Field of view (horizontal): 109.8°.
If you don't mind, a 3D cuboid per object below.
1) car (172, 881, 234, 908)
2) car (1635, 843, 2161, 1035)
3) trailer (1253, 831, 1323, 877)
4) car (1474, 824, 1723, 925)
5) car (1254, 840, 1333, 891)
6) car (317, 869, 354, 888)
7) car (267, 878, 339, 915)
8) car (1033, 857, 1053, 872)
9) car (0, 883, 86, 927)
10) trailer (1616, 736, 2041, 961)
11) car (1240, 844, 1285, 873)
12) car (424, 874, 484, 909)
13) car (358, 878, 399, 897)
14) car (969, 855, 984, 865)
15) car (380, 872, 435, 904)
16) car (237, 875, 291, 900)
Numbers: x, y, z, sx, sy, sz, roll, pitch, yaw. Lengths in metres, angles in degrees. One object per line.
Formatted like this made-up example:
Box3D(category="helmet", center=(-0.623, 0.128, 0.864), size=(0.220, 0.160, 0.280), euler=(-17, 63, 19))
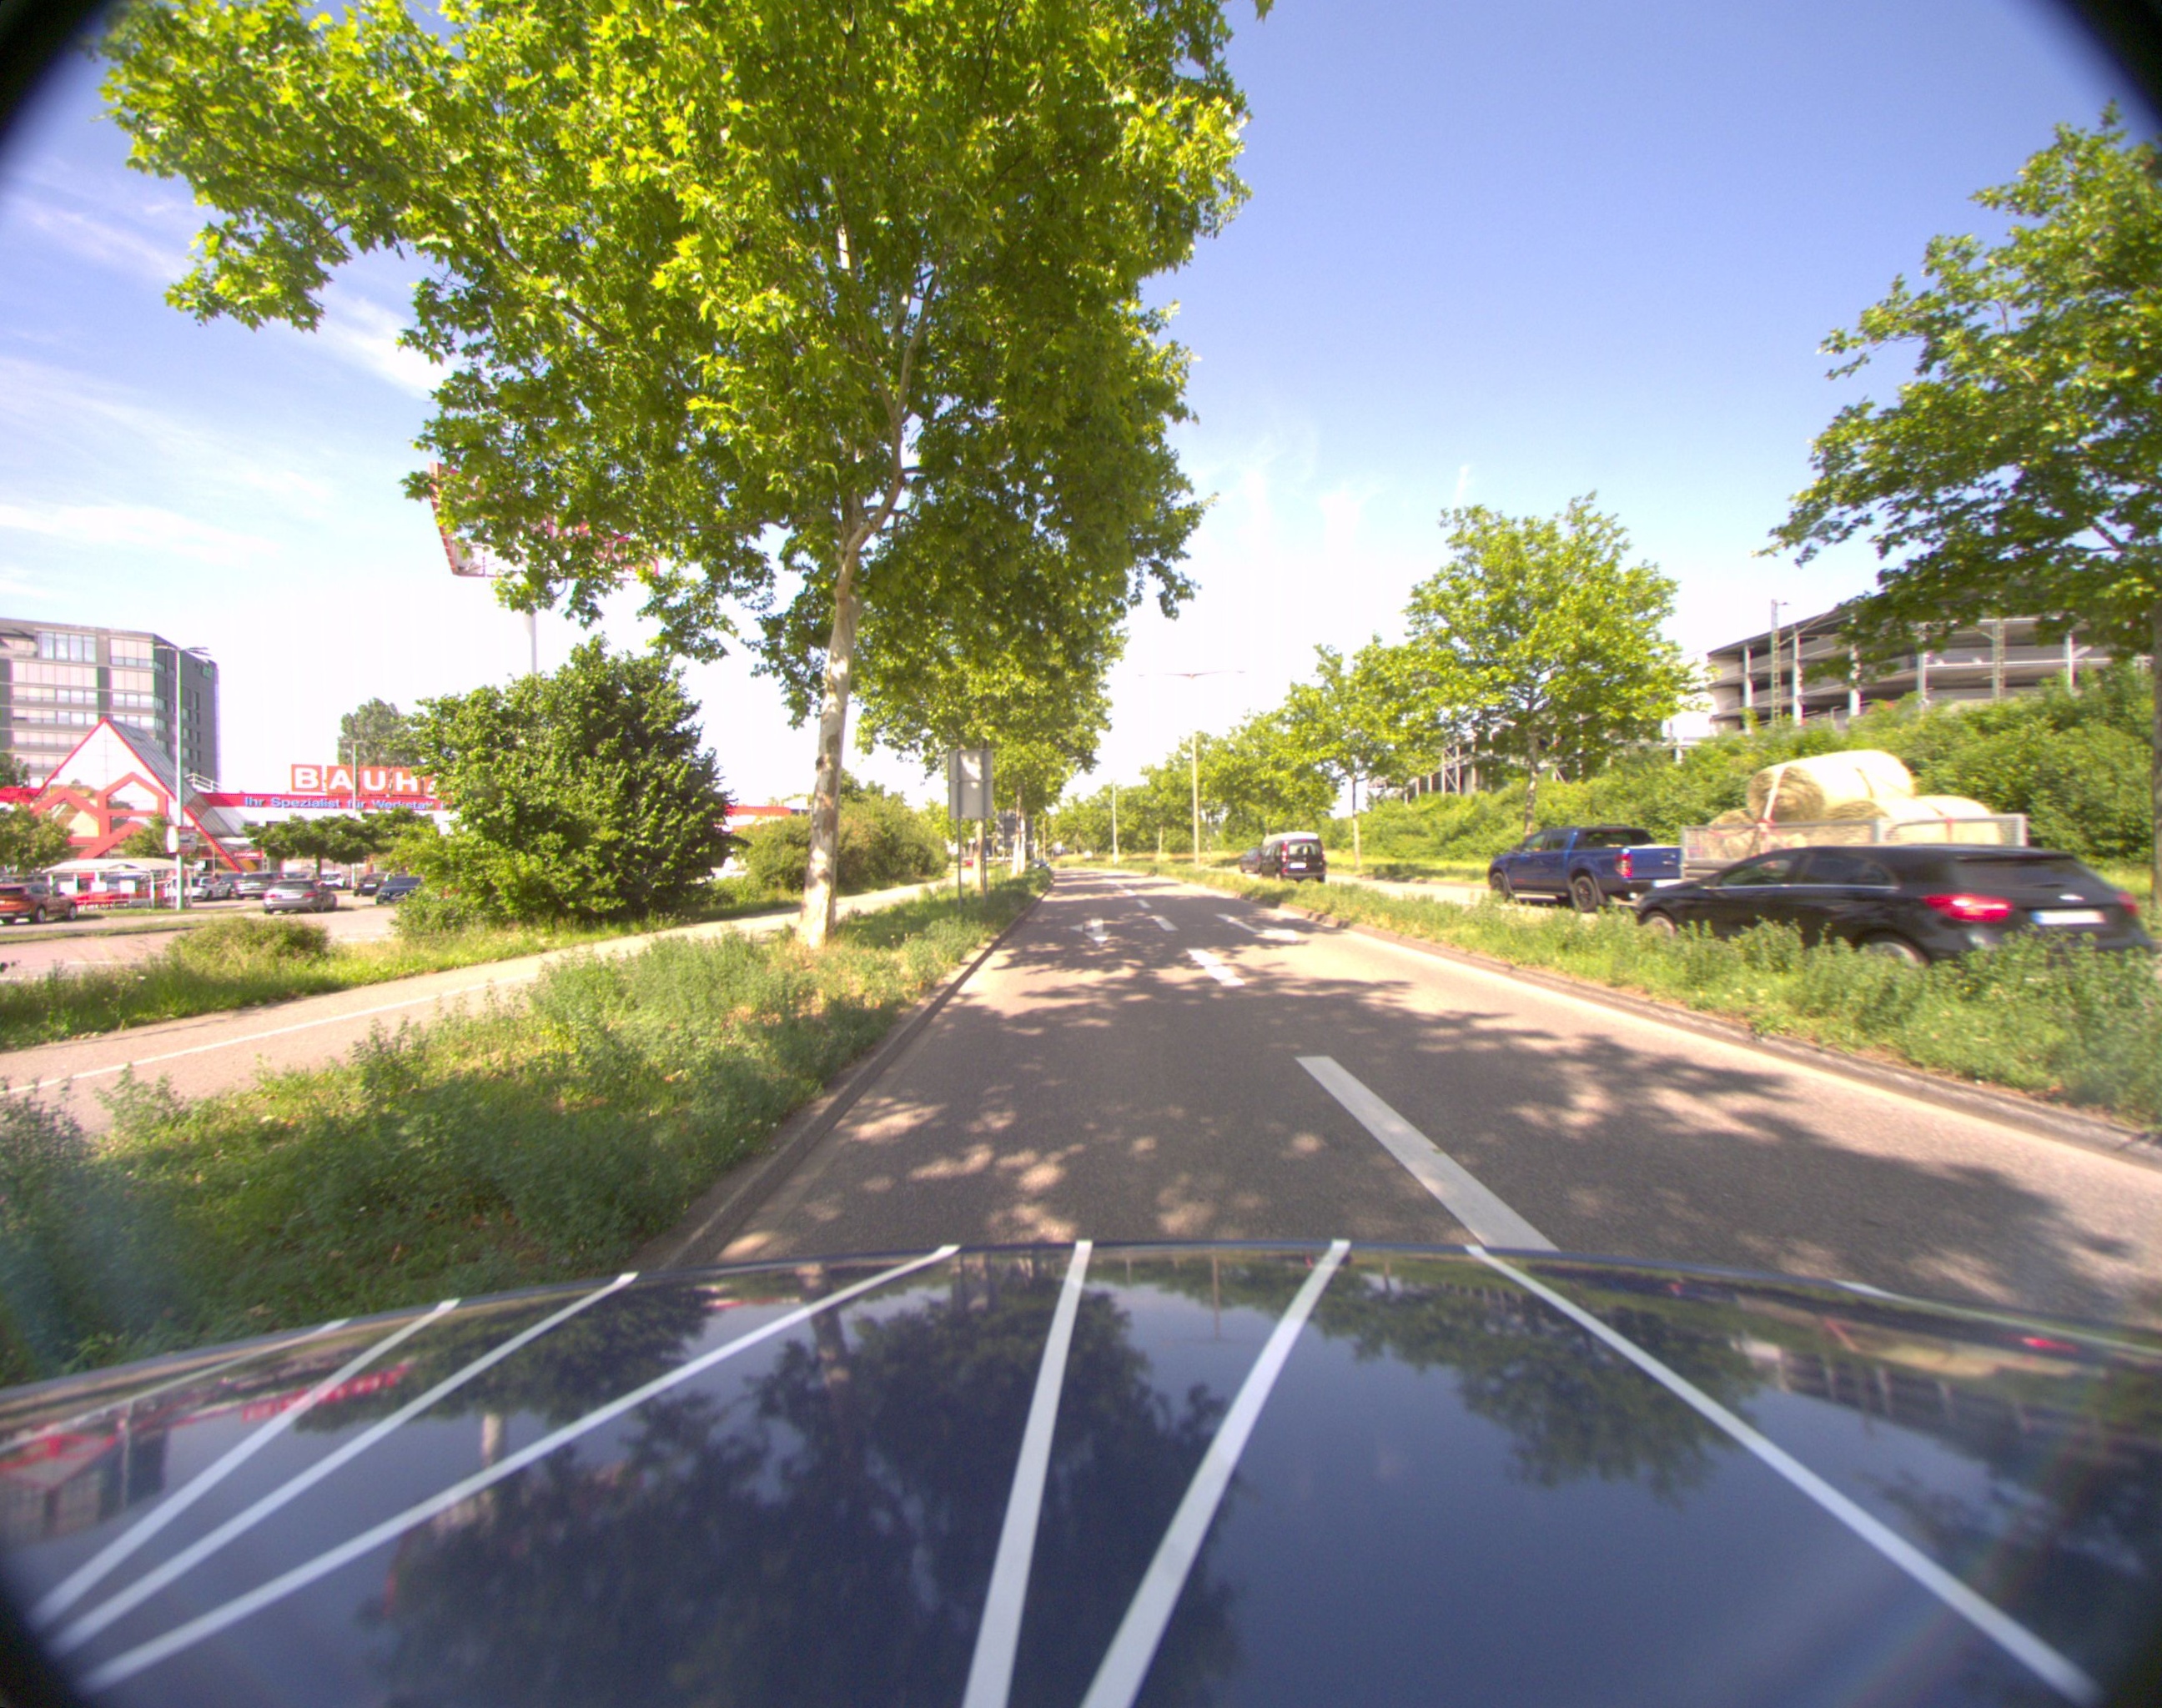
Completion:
Box3D(category="car", center=(-51.346, 2.339, 44.497), size=(1.572, 1.371, 3.609), euler=(-3, 1, -36))
Box3D(category="car", center=(7.956, 0.644, 7.890), size=(1.607, 1.463, 3.789), euler=(-2, 1, 0))
Box3D(category="trailer", center=(11.028, -0.036, 40.938), size=(2.314, 2.252, 5.537), euler=(-1, 1, 1))
Box3D(category="car", center=(11.012, 0.346, 16.817), size=(1.769, 1.779, 5.374), euler=(-3, 1, -1))
Box3D(category="car", center=(8.201, 0.391, 29.729), size=(1.735, 1.799, 4.231), euler=(-3, 1, -1))
Box3D(category="car", center=(-59.827, 1.926, 61.023), size=(1.572, 1.371, 3.609), euler=(-3, 1, -36))
Box3D(category="car", center=(-35.453, 1.902, 34.707), size=(1.784, 1.477, 3.779), euler=(-3, 1, -38))
Box3D(category="car", center=(-4.165, 1.119, 82.920), size=(1.723, 1.575, 3.750), euler=(-2, 1, -11))
Box3D(category="car", center=(-41.835, 1.996, 30.295), size=(1.685, 1.537, 3.779), euler=(-3, 1, -38))
Box3D(category="trailer", center=(11.064, -0.095, 11.922), size=(1.884, 2.728, 4.828), euler=(-3, 1, 1))
Box3D(category="car", center=(10.849, 0.235, 45.715), size=(1.719, 1.613, 4.360), euler=(-1, 1, 1))
Box3D(category="car", center=(-31.539, 1.859, 38.318), size=(2.003, 1.499, 3.989), euler=(-2, 1, -35))
Box3D(category="car", center=(-45.459, 2.163, 49.201), size=(1.521, 1.054, 3.179), euler=(-4, 1, -36))
Box3D(category="car", center=(-17.080, 0.939, 124.403), size=(1.651, 1.592, 3.597), euler=(-2, 1, -21))
Box3D(category="car", center=(-36.729, 1.818, 41.537), size=(1.632, 1.618, 4.746), euler=(0, -1, -34))
Box3D(category="car", center=(-49.705, 1.995, 46.284), size=(1.572, 1.371, 3.609), euler=(-3, 1, -36))
